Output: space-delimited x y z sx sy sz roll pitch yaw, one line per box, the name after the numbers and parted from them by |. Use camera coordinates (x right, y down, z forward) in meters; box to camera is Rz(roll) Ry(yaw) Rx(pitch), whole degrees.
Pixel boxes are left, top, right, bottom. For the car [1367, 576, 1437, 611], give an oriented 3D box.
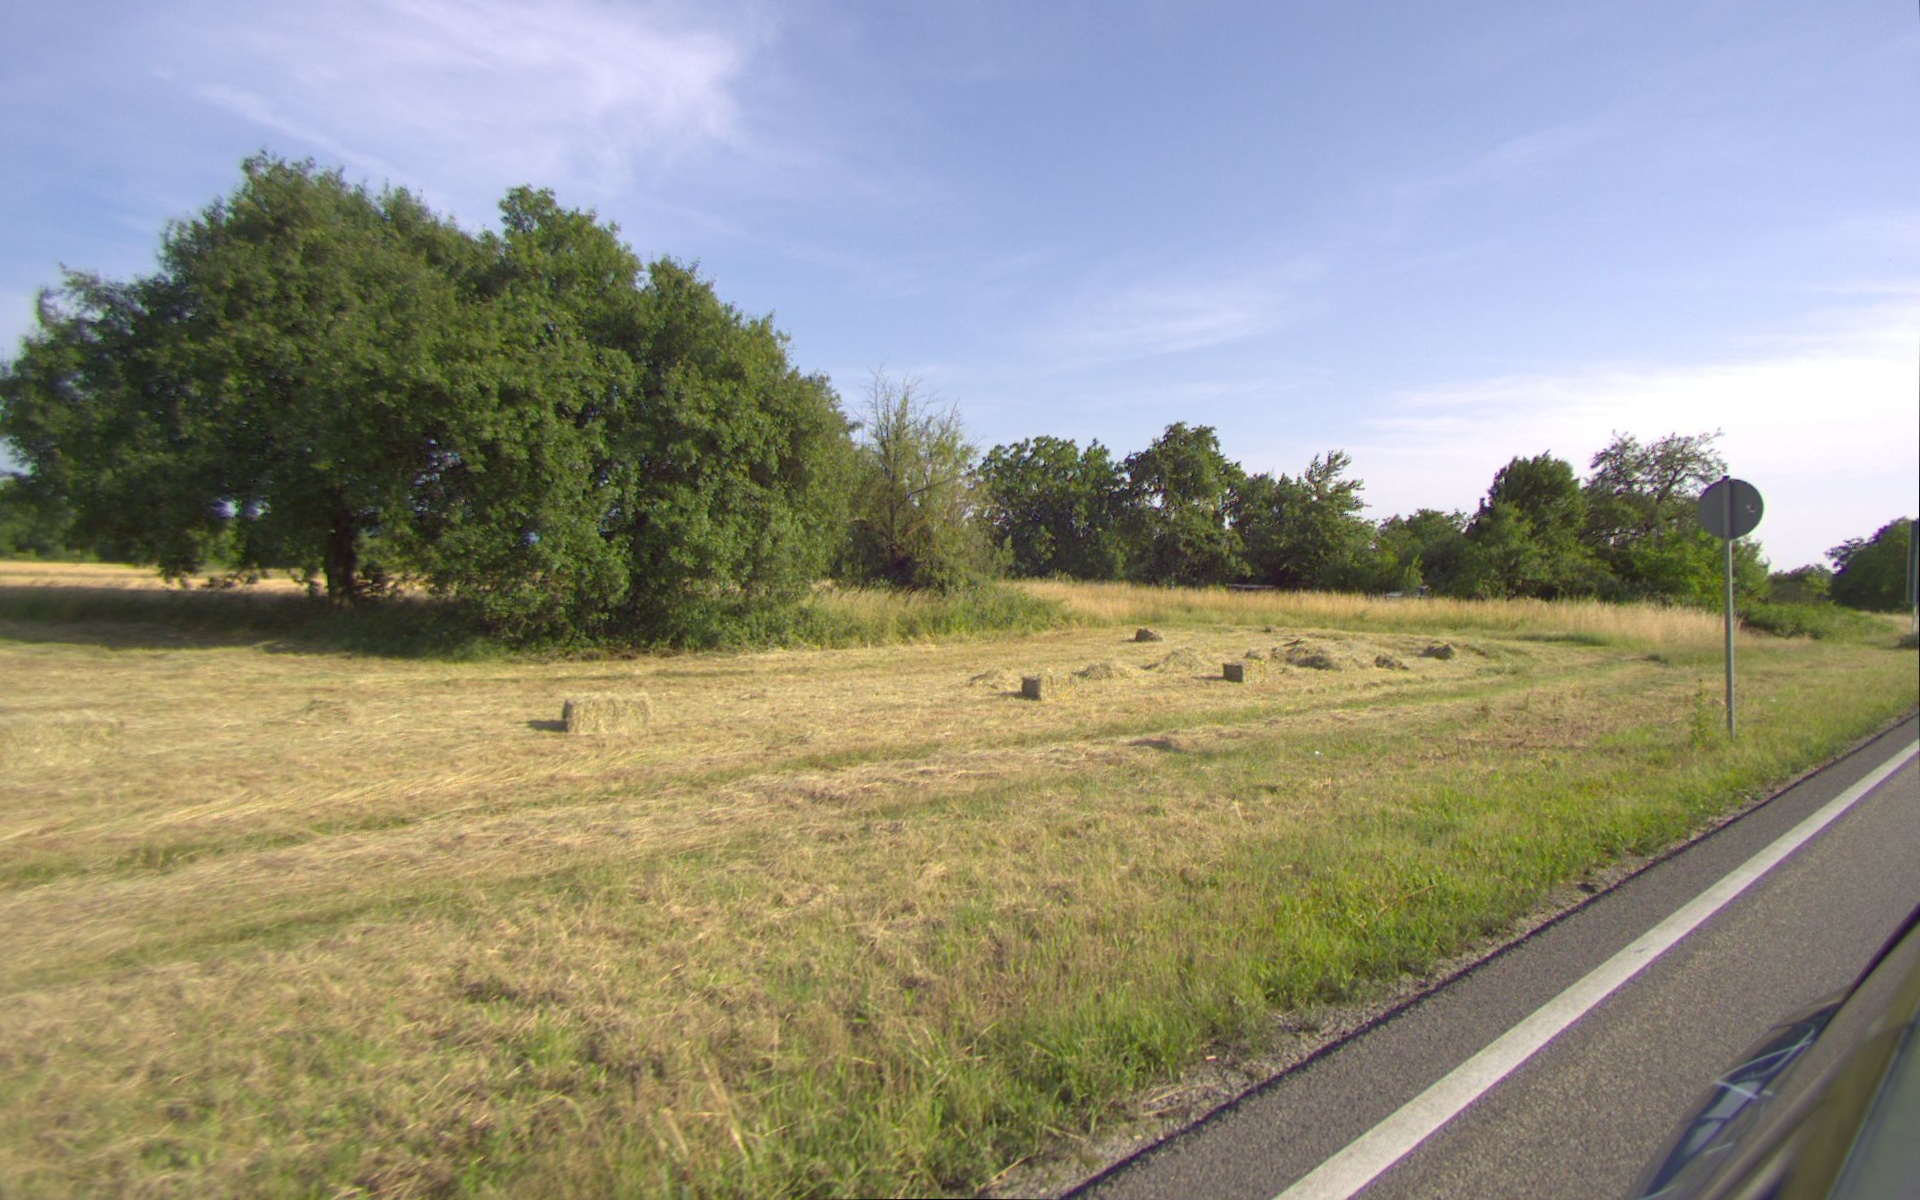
23.619 -0.350 54.056 3.931 1.772 1.997 0 0 -42 | car
